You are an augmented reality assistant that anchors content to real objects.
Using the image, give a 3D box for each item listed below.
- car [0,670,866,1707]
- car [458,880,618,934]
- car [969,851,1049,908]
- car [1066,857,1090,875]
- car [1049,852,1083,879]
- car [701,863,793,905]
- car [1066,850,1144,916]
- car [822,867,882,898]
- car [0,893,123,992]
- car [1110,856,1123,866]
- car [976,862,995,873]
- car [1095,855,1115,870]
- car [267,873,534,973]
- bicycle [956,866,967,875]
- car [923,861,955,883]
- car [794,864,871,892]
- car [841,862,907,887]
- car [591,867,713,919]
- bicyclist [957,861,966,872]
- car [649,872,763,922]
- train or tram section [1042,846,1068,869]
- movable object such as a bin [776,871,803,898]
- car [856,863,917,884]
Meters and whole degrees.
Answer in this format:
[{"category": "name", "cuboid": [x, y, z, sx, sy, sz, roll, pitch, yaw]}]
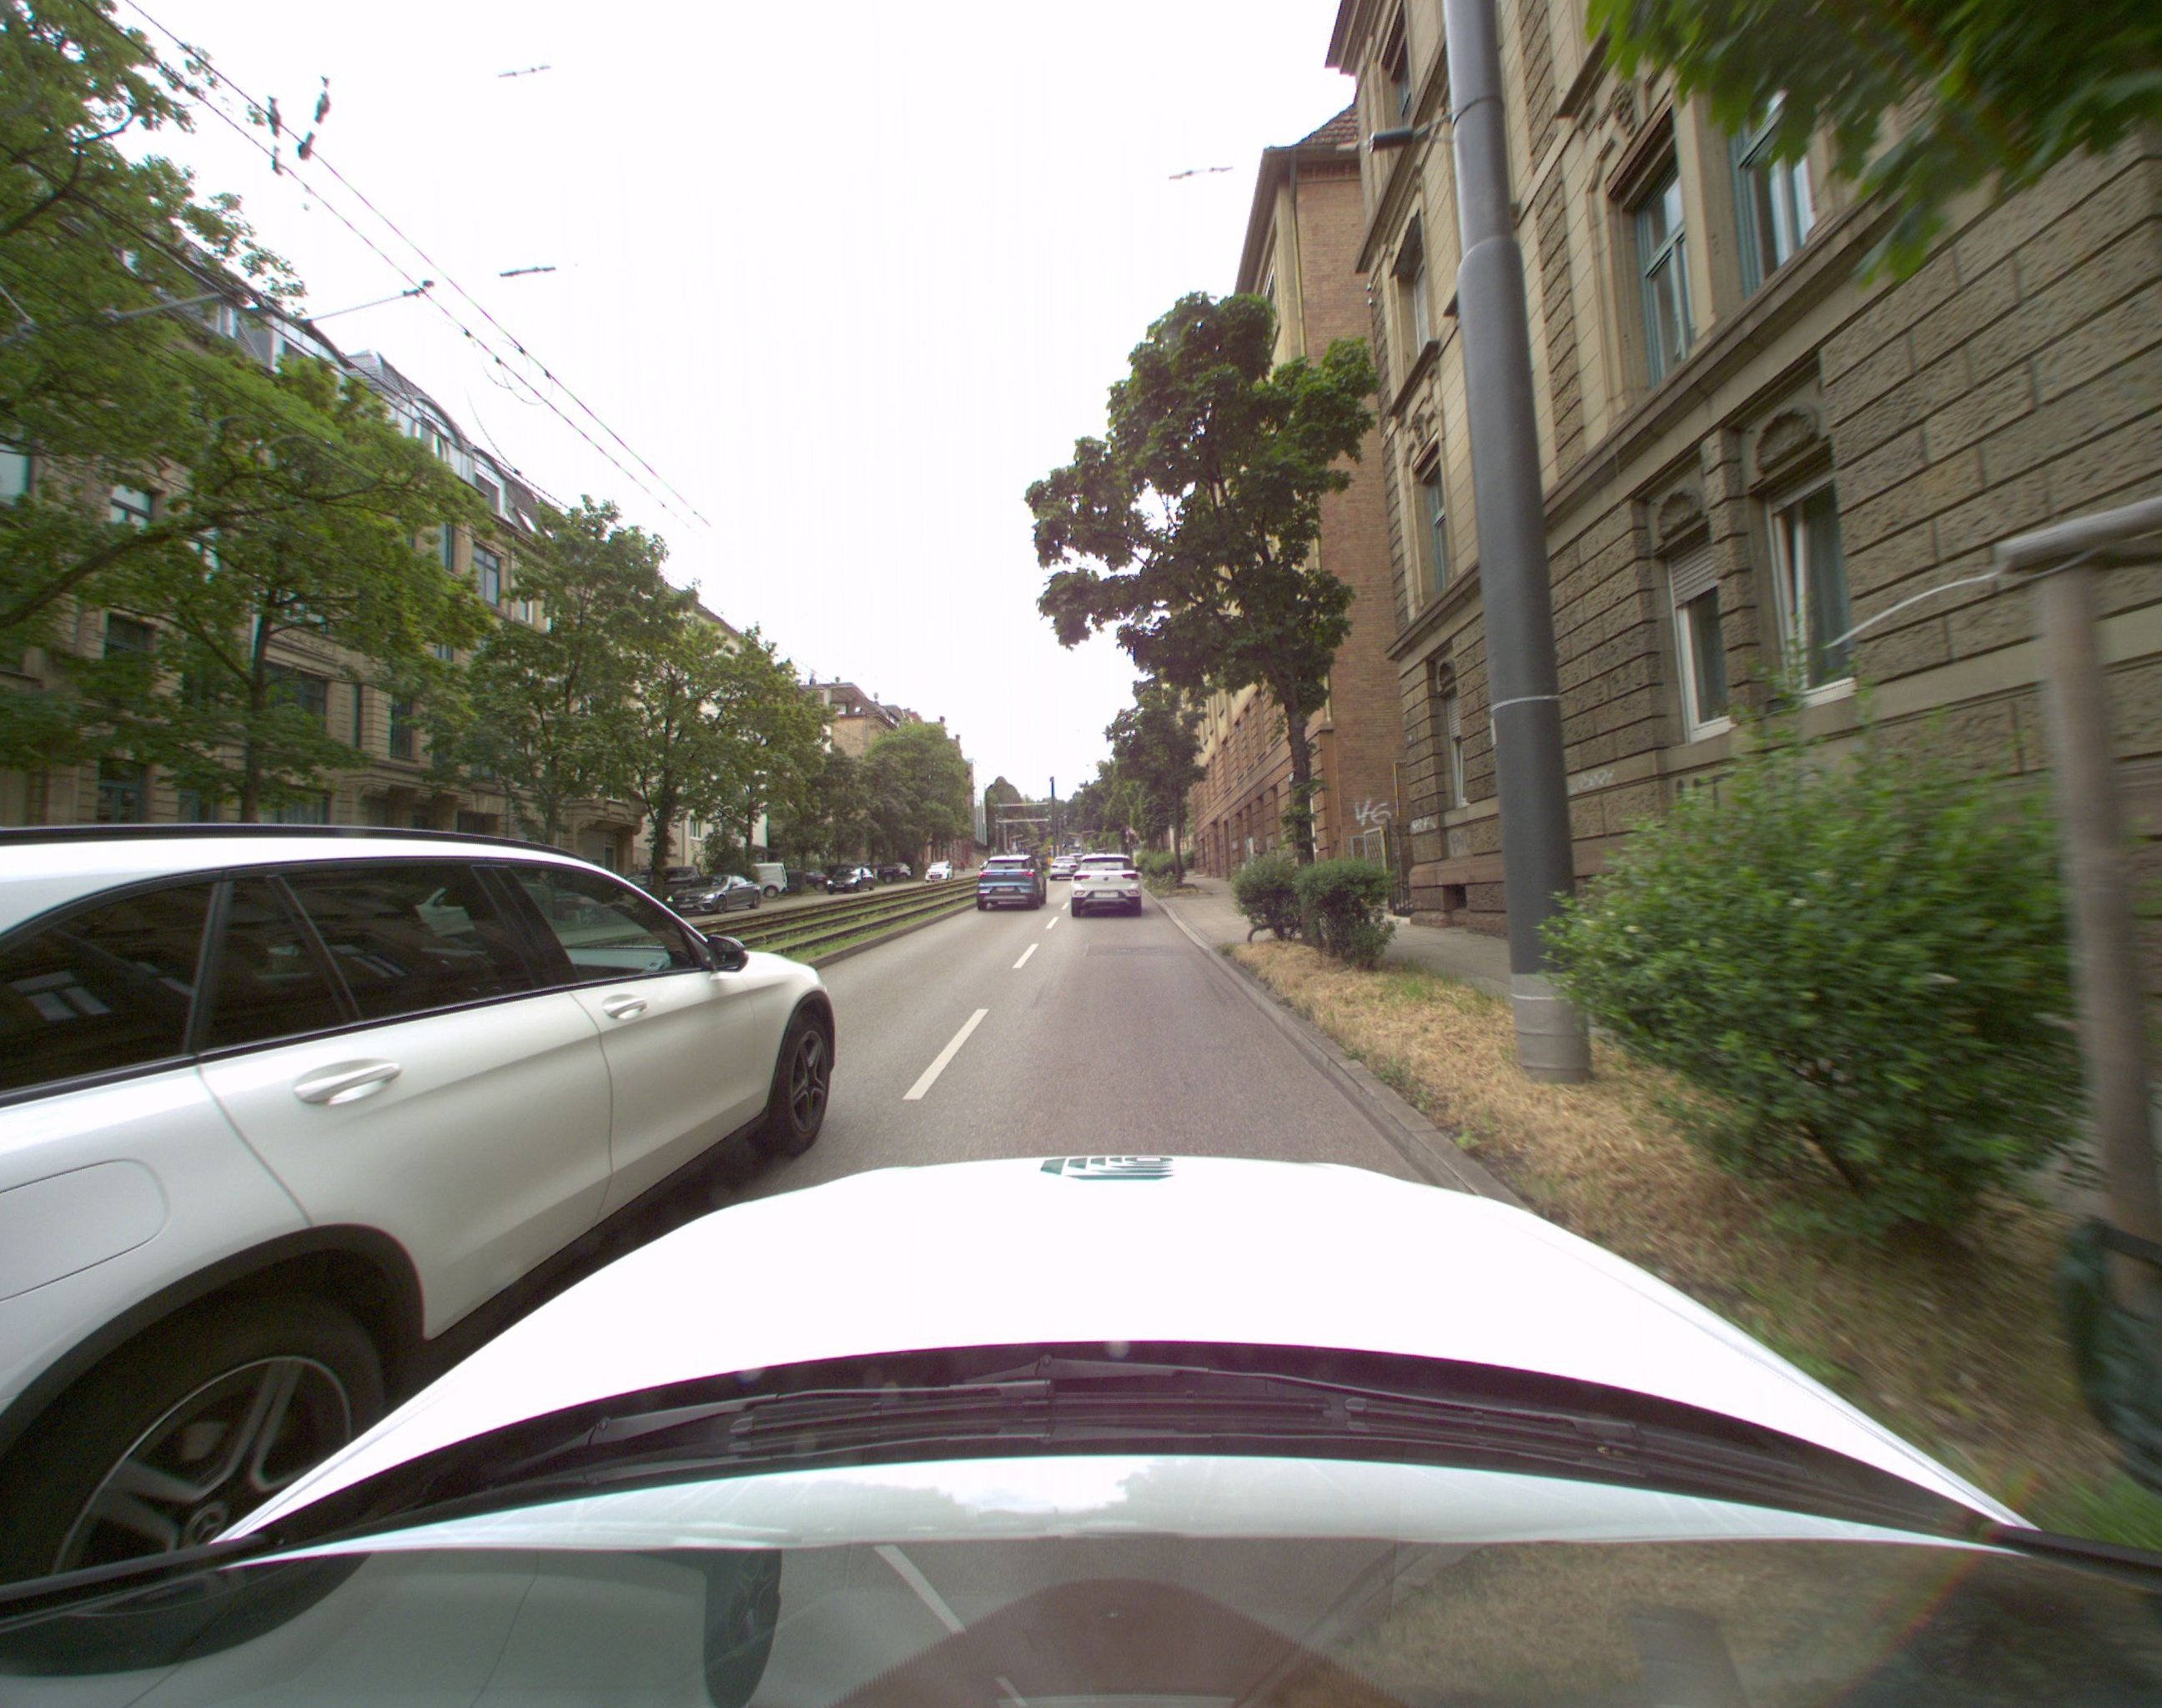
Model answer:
[{"category": "car", "cuboid": [-2.344, 0.612, 2.793, 1.829, 1.667, 4.672, -1, 0, 1]}, {"category": "car", "cuboid": [-17.960, 1.718, 27.190, 4.202, 1.435, 1.854, -3, 0, -28]}, {"category": "car", "cuboid": [-2.072, 0.716, 24.663, 1.828, 1.546, 4.196, -1, 0, 2]}, {"category": "car", "cuboid": [-0.222, 1.032, 70.994, 1.828, 1.546, 4.196, -1, 0, 2]}, {"category": "car", "cuboid": [-0.900, 0.708, 50.805, 1.828, 1.546, 4.196, -1, 0, 2]}, {"category": "car", "cuboid": [-17.109, 1.501, 41.712, 4.199, 1.836, 1.856, -3, 0, -25]}, {"category": "car", "cuboid": [0.631, 0.702, 21.731, 1.829, 1.546, 4.194, -1, 0, 1]}, {"category": "car", "cuboid": [-12.836, 1.561, 45.885, 1.859, 1.435, 4.495, -6, -1, 1]}, {"category": "car", "cuboid": [-18.370, 1.514, 12.611, 4.168, 1.469, 1.768, -4, -1, -30]}, {"category": "car", "cuboid": [5.901, 1.113, 133.912, 2.060, 1.546, 4.196, -1, 0, 2]}, {"category": "car", "cuboid": [-13.587, 1.928, 115.799, 1.985, 1.403, 4.003, -3, 0, 3]}, {"category": "car", "cuboid": [2.719, 0.958, 90.797, 2.060, 1.546, 4.196, -1, 0, 2]}, {"category": "car", "cuboid": [-14.080, 1.330, 17.263, 1.773, 1.616, 4.348, -5, 0, 2]}, {"category": "bicycle", "cuboid": [-17.042, 2.333, 116.156, 0.934, 1.100, 2.704, -3, 0, 2]}, {"category": "car", "cuboid": [-10.558, 1.331, 60.863, 1.582, 1.435, 3.413, -5, 0, 1]}, {"category": "car", "cuboid": [-16.688, 1.584, 54.813, 4.623, 1.682, 1.917, -1, -1, -31]}, {"category": "car", "cuboid": [-16.062, 1.557, 63.430, 4.634, 1.797, 1.912, -1, -1, -45]}, {"category": "car", "cuboid": [-17.394, 1.534, 33.155, 4.202, 1.767, 1.854, -3, 0, -28]}, {"category": "bicyclist", "cuboid": [-17.069, 1.764, 116.204, 0.934, 1.425, 1.188, -3, 0, 2]}, {"category": "car", "cuboid": [-13.329, 1.470, 29.272, 1.718, 1.410, 4.600, -5, 0, 2]}, {"category": "train or tram section", "cuboid": [-4.159, 0.570, 133.649, 2.983, 3.349, 13.449, -3, 0, 3]}, {"category": "movable object such as a bin", "cuboid": [-15.992, 1.642, 44.687, 1.276, 1.401, 1.091, -2, -1, -14]}, {"category": "car", "cuboid": [-16.576, 1.655, 69.465, 4.623, 1.617, 1.916, -1, -1, -32]}]
